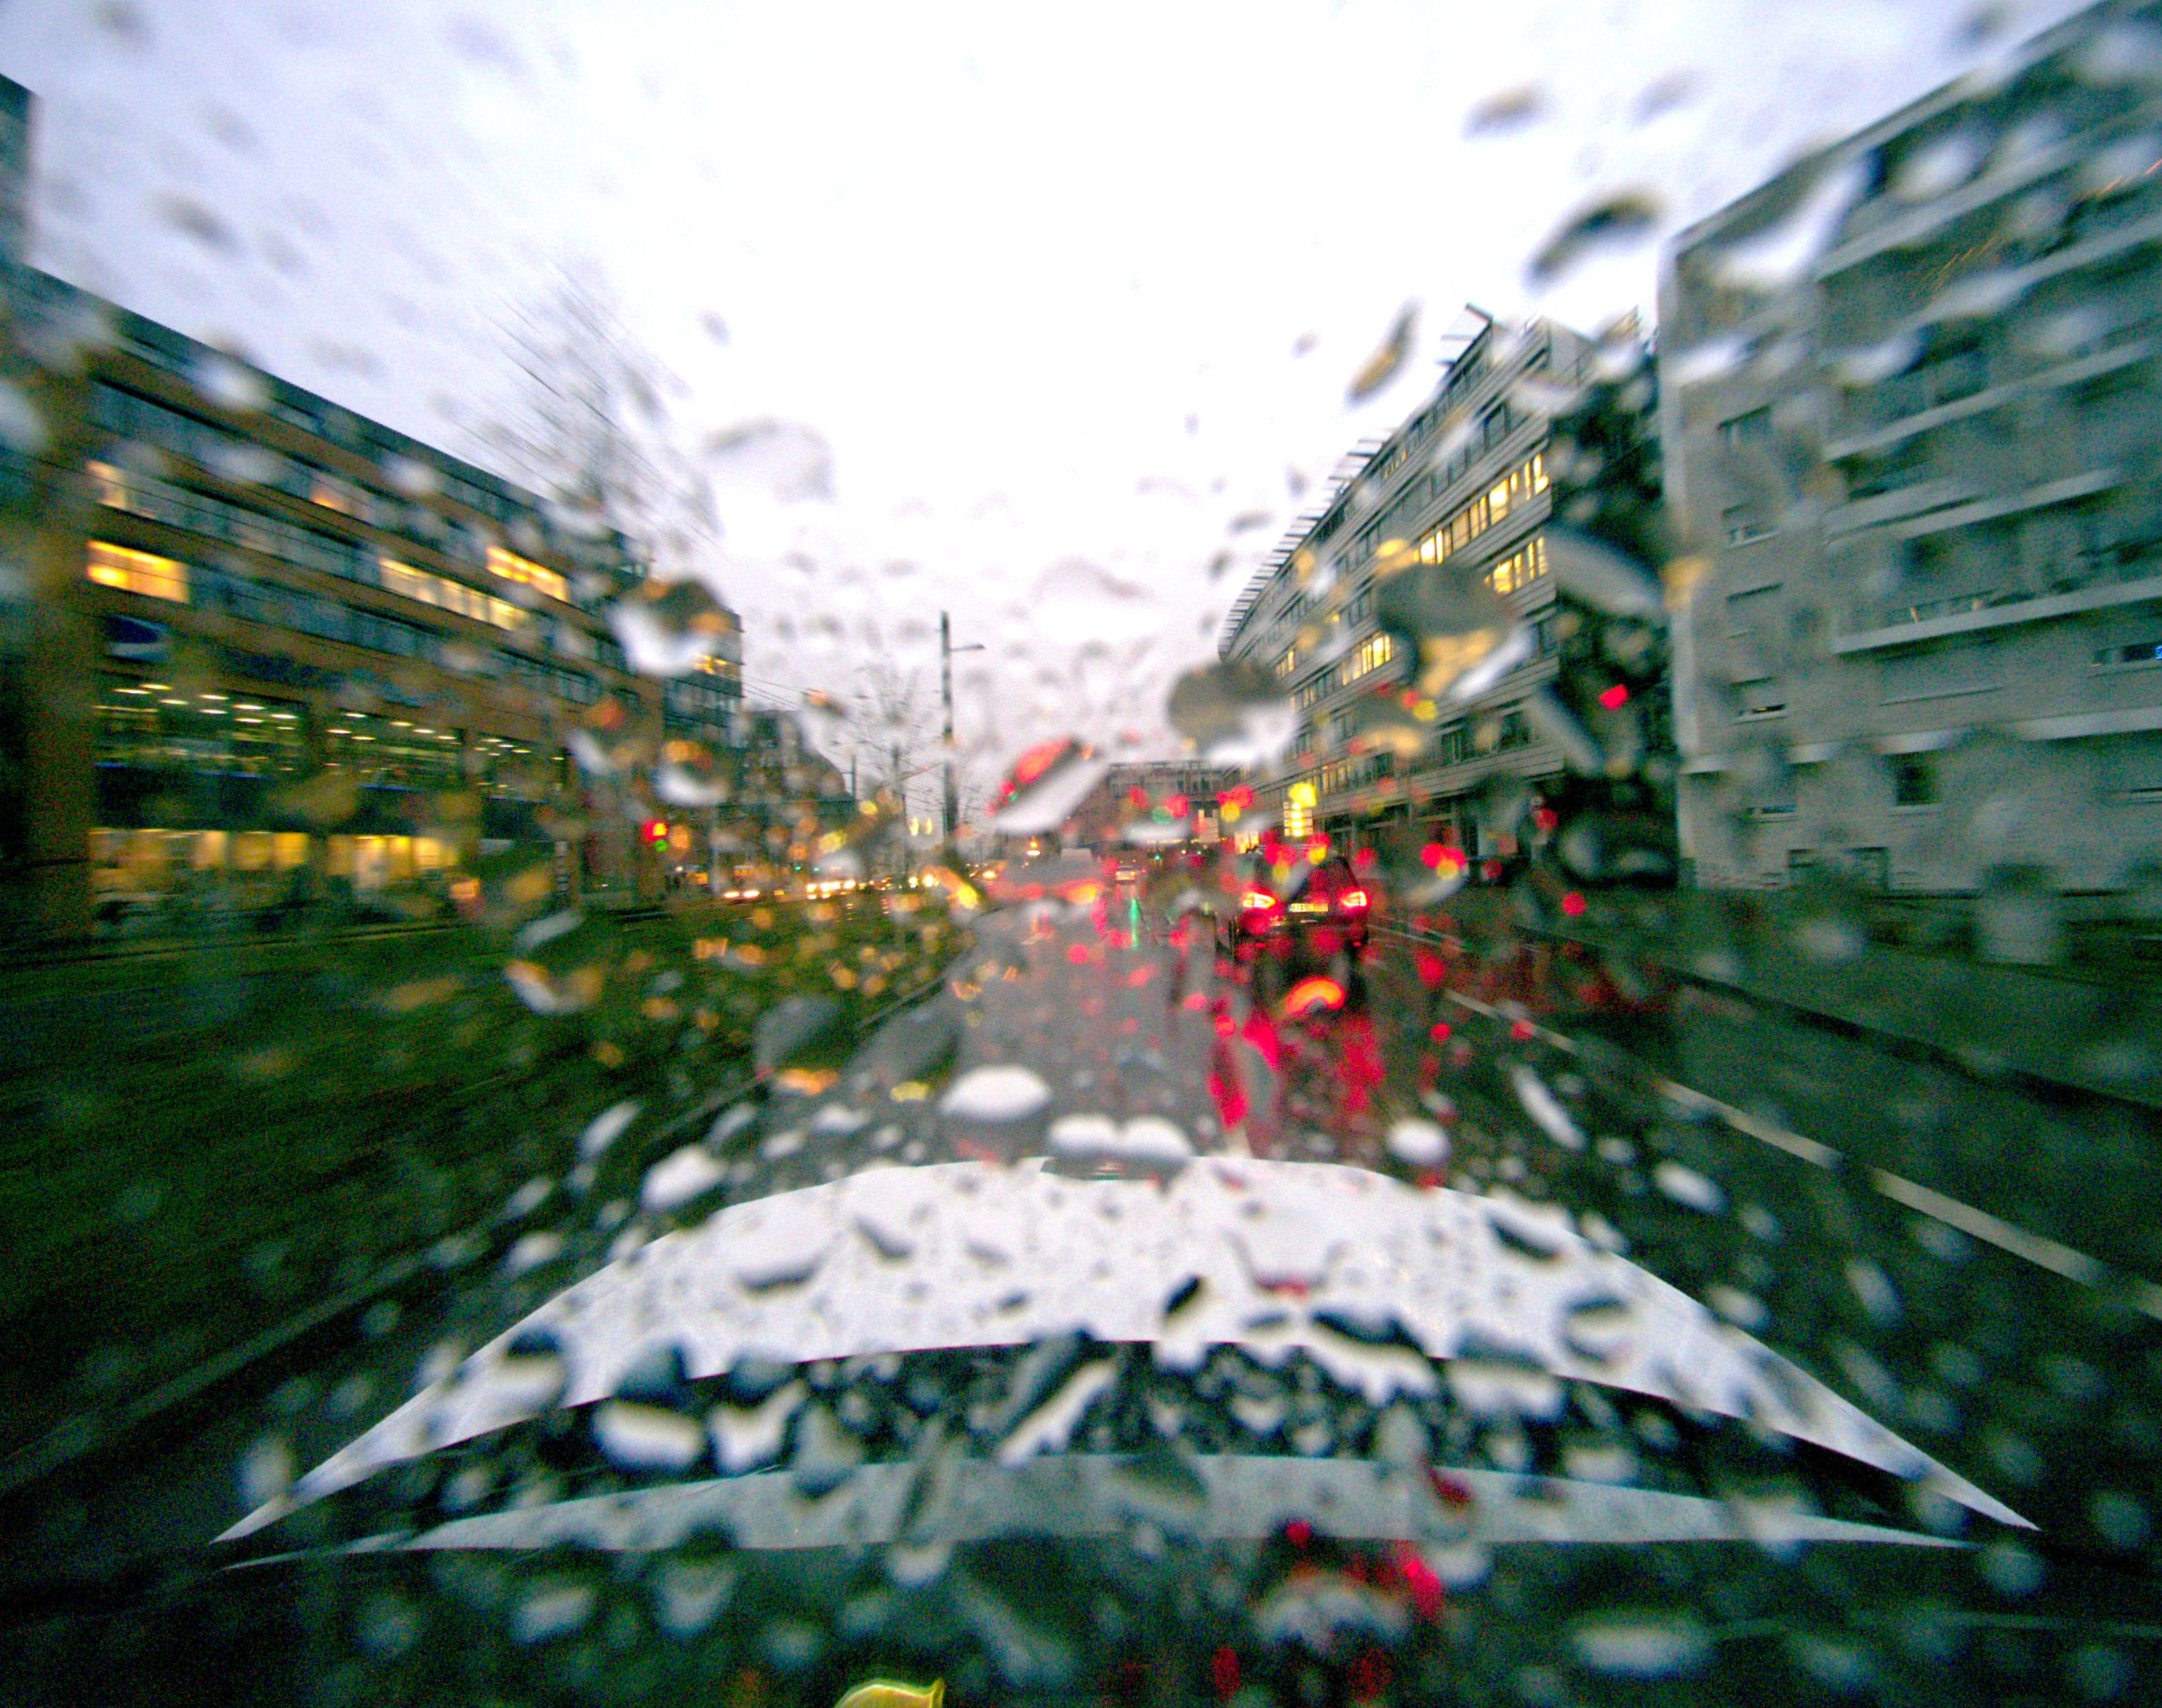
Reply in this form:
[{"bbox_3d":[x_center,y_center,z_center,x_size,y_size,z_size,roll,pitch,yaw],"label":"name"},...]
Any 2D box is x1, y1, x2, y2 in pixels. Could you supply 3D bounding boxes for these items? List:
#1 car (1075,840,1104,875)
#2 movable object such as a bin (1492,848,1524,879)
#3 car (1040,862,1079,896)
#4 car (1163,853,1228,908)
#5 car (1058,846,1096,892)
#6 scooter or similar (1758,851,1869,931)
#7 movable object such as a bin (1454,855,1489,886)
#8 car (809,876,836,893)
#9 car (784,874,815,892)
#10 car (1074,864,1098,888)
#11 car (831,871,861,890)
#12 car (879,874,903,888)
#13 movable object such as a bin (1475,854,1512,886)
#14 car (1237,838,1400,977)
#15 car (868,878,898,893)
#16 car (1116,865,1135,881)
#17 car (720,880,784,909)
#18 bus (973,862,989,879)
[{"bbox_3d":[0.753,0.339,71.240,2.347,2.827,6.357,-2,-1,0],"label":"car"},{"bbox_3d":[19.472,0.435,37.154,0.728,1.383,1.077,-4,-1,-7],"label":"movable object such as a bin"},{"bbox_3d":[-0.973,1.179,39.217,1.632,1.496,3.686,-2,0,2],"label":"car"},{"bbox_3d":[4.061,0.924,29.558,1.836,1.806,4.489,-2,-1,2],"label":"car"},{"bbox_3d":[-0.269,0.879,47.641,1.988,2.427,5.970,-2,-1,-1],"label":"car"},{"bbox_3d":[12.112,0.607,13.530,0.663,1.227,1.563,-3,-3,15],"label":"scooter or similar"},{"bbox_3d":[17.535,0.731,36.550,0.843,1.294,1.165,-4,-1,-7],"label":"movable object such as a bin"},{"bbox_3d":[-23.167,2.712,73.136,1.504,1.402,3.542,-2,-1,-5],"label":"car"},{"bbox_3d":[-28.113,2.915,81.365,1.625,1.692,3.624,-2,-1,3],"label":"car"},{"bbox_3d":[0.323,1.483,54.418,1.513,1.520,3.468,-2,-2,-1],"label":"car"},{"bbox_3d":[-18.252,2.072,63.271,1.503,1.373,3.646,-2,-2,-5],"label":"car"},{"bbox_3d":[-21.691,3.032,93.070,1.990,1.450,4.307,-2,-1,-5],"label":"car"},{"bbox_3d":[17.801,0.701,35.183,0.843,1.294,1.165,-4,-1,-7],"label":"movable object such as a bin"},{"bbox_3d":[3.431,0.719,12.469,1.665,1.780,4.006,-1,-1,6],"label":"car"},{"bbox_3d":[-19.629,3.118,80.889,1.722,1.393,4.202,-2,-1,3],"label":"car"},{"bbox_3d":[3.887,1.649,70.666,1.505,1.306,3.043,-2,-1,4],"label":"car"},{"bbox_3d":[-18.322,2.229,45.537,1.808,1.442,3.957,-2,-1,1],"label":"car"},{"bbox_3d":[-20.043,3.318,163.185,2.824,3.373,7.971,-1,-1,-10],"label":"bus"}]
